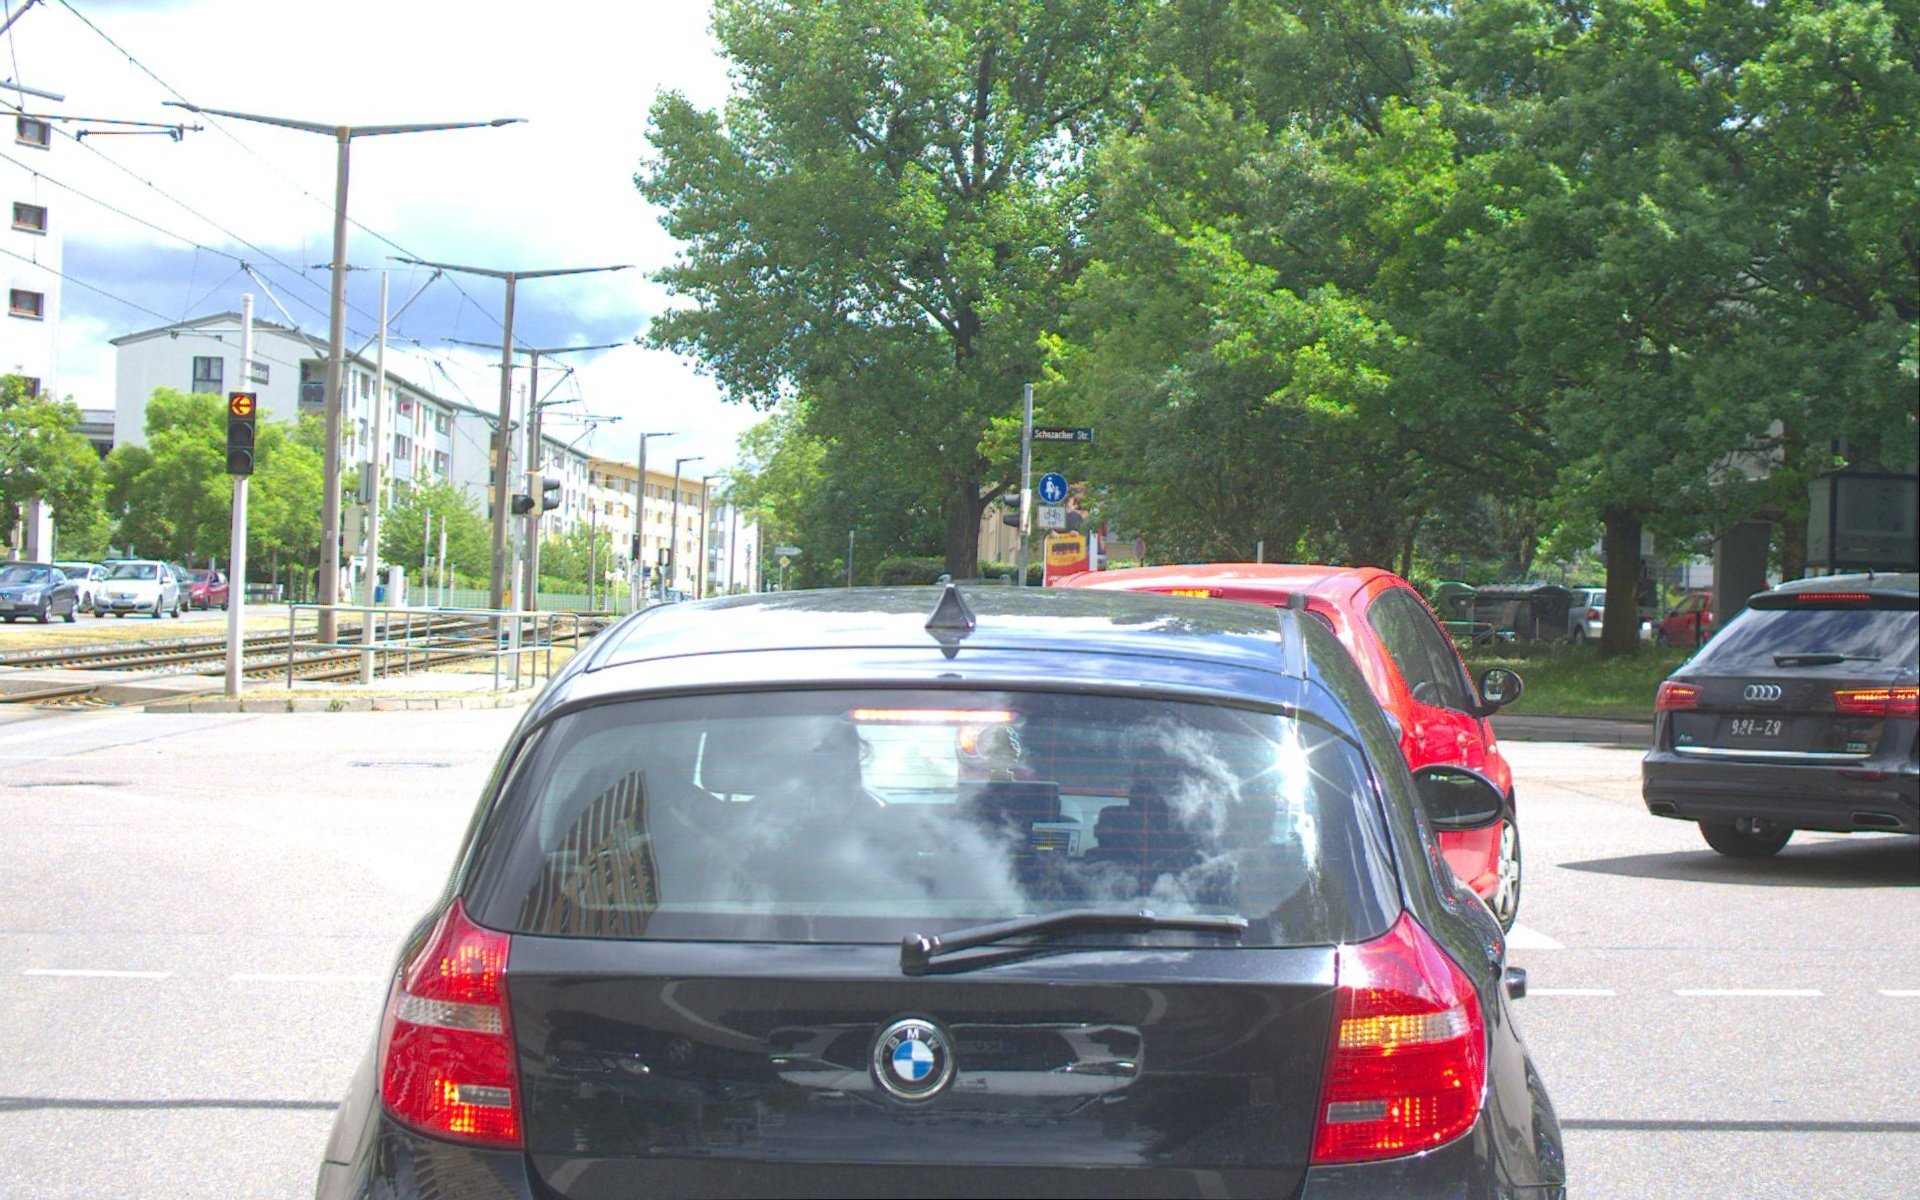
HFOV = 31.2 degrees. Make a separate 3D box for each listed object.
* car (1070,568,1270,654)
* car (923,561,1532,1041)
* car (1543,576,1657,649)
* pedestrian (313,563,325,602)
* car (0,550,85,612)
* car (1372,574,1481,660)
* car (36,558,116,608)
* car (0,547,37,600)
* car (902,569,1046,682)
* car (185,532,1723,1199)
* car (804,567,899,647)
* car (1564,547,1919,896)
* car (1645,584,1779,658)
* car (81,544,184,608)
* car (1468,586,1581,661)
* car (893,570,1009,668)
[{"bbox_3d":[4.627,0.246,75.762,3.986,1.817,1.779,1,1,-22],"label":"car"},{"bbox_3d":[1.073,0.598,12.292,1.543,1.436,3.193,1,1,16],"label":"car"},{"bbox_3d":[14.671,0.269,78.974,1.630,1.589,4.001,1,1,-3],"label":"car"},{"bbox_3d":[-27.073,-0.741,145.182,0.452,1.631,0.480,1,1,-5],"label":"pedestrian"},{"bbox_3d":[-22.076,-0.465,81.560,1.634,1.395,4.494,2,0,-3],"label":"car"},{"bbox_3d":[10.409,0.359,76.900,1.630,1.804,4.033,1,1,-3],"label":"car"},{"bbox_3d":[-25.946,-0.519,101.034,1.760,1.390,4.001,1,1,-7],"label":"car"},{"bbox_3d":[-26.282,-0.745,93.449,1.760,1.390,4.001,1,1,-7],"label":"car"},{"bbox_3d":[0.201,0.394,54.255,2.152,1.678,4.000,1,0,0],"label":"car"},{"bbox_3d":[-0.031,0.645,5.955,1.752,1.482,4.000,1,1,0],"label":"car"},{"bbox_3d":[-2.406,0.132,76.991,1.993,1.678,4.000,1,1,0],"label":"car"},{"bbox_3d":[5.323,0.537,17.523,4.508,1.548,1.999,0,1,-41],"label":"car"},{"bbox_3d":[17.330,0.461,79.412,1.730,1.589,4.001,1,1,-8],"label":"car"},{"bbox_3d":[-22.765,-0.665,94.654,1.937,1.687,3.873,1,1,-1],"label":"car"},{"bbox_3d":[12.731,0.512,77.750,1.630,1.567,4.033,1,1,-3],"label":"car"},{"bbox_3d":[-0.170,0.343,61.704,1.993,1.678,4.000,1,0,0],"label":"car"}]
